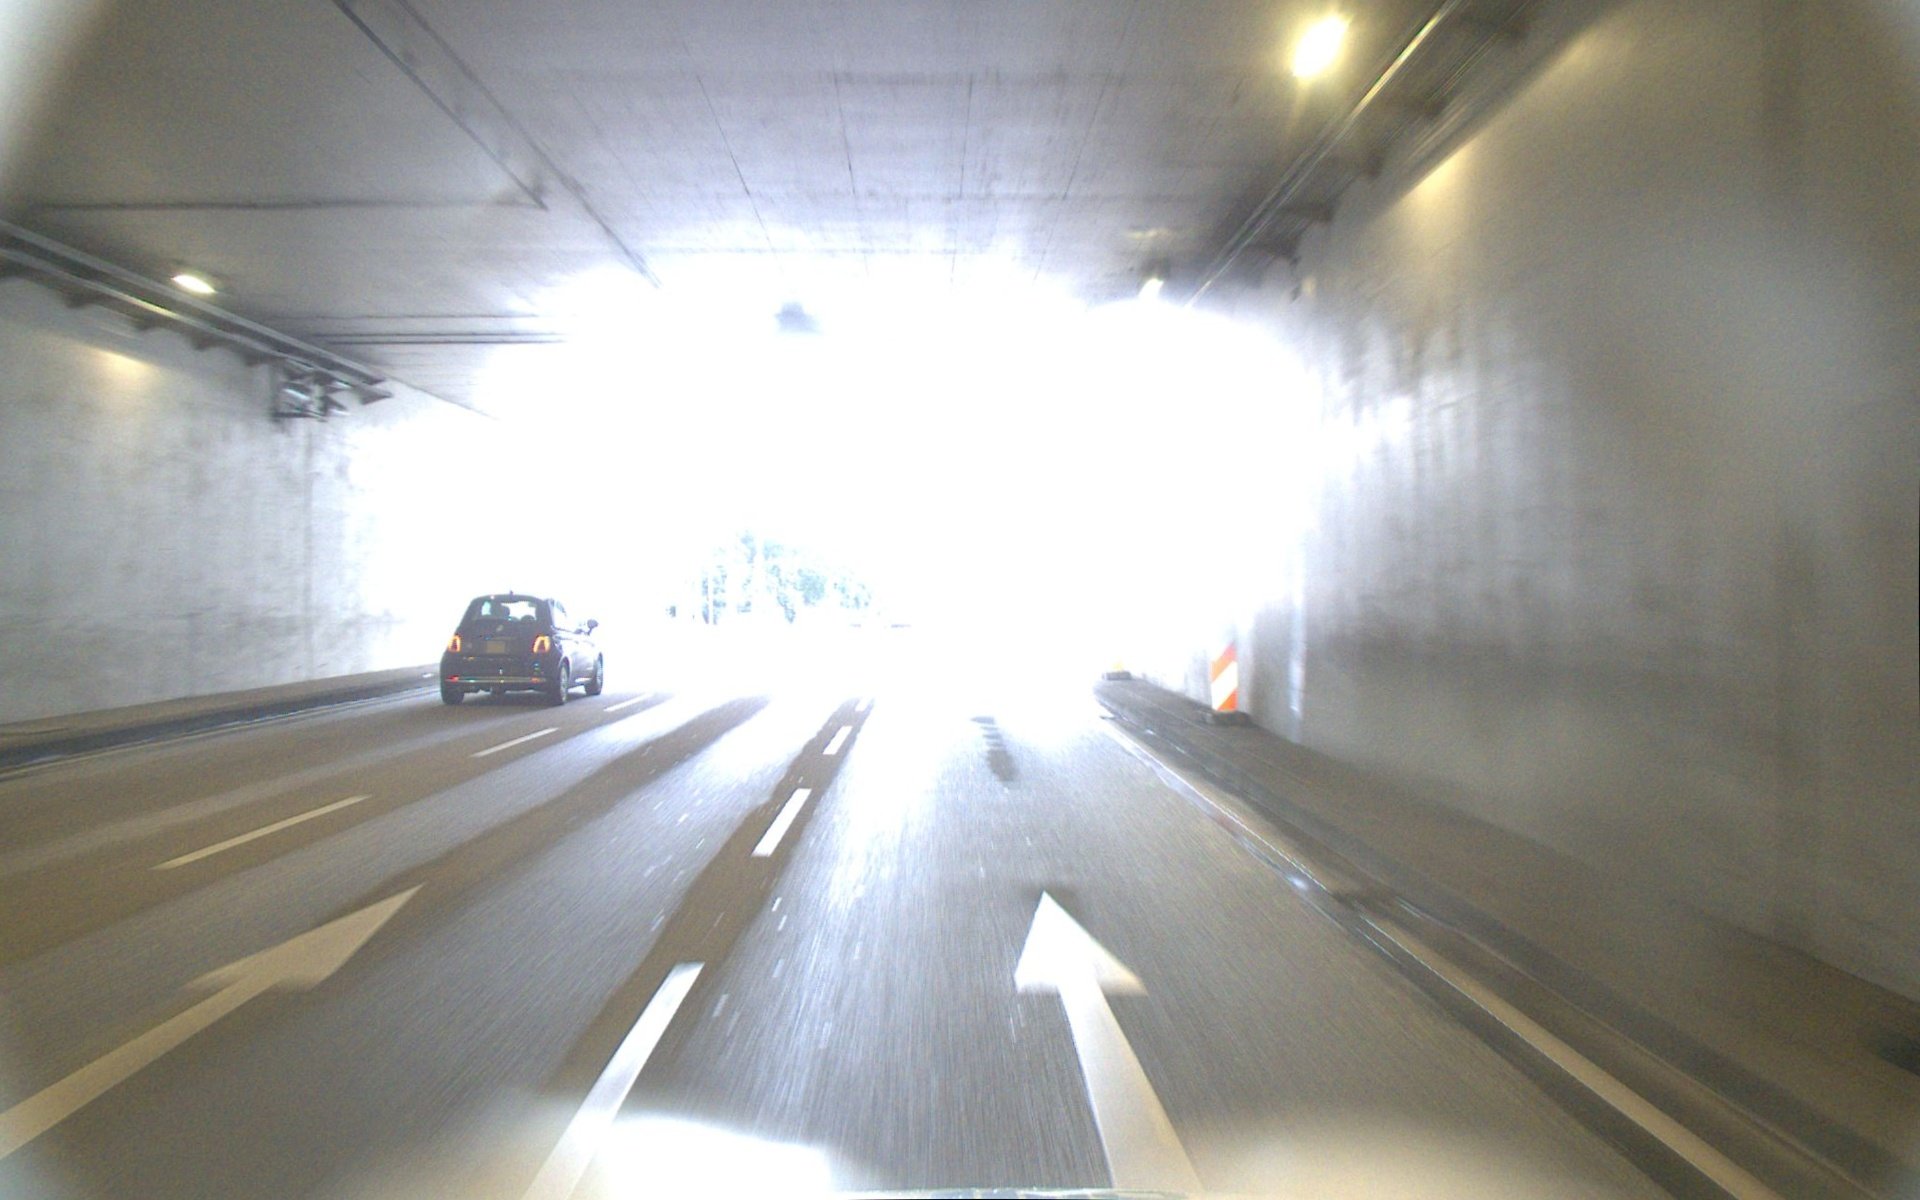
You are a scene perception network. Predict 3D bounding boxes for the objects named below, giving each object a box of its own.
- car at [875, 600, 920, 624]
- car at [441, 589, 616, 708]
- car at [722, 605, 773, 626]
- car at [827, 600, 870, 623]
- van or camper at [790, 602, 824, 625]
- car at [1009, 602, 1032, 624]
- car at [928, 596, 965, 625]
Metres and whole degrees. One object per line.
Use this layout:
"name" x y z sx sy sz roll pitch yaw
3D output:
"car" -4.713 0.869 124.012 1.870 1.713 3.964 -2 0 -28
"car" -5.915 0.609 23.039 1.579 1.480 3.572 -1 1 -2
"car" -17.874 1.279 139.073 3.914 1.540 1.894 -2 1 31
"car" -8.908 0.904 131.685 1.871 1.713 3.963 -4 1 -28
"van or camper" -14.272 1.251 154.652 2.083 2.049 5.318 -3 -1 6
"car" 5.912 1.243 161.829 1.953 2.049 3.999 -2 0 -1
"car" -0.780 0.574 91.211 1.953 1.473 4.313 -3 -1 -1
